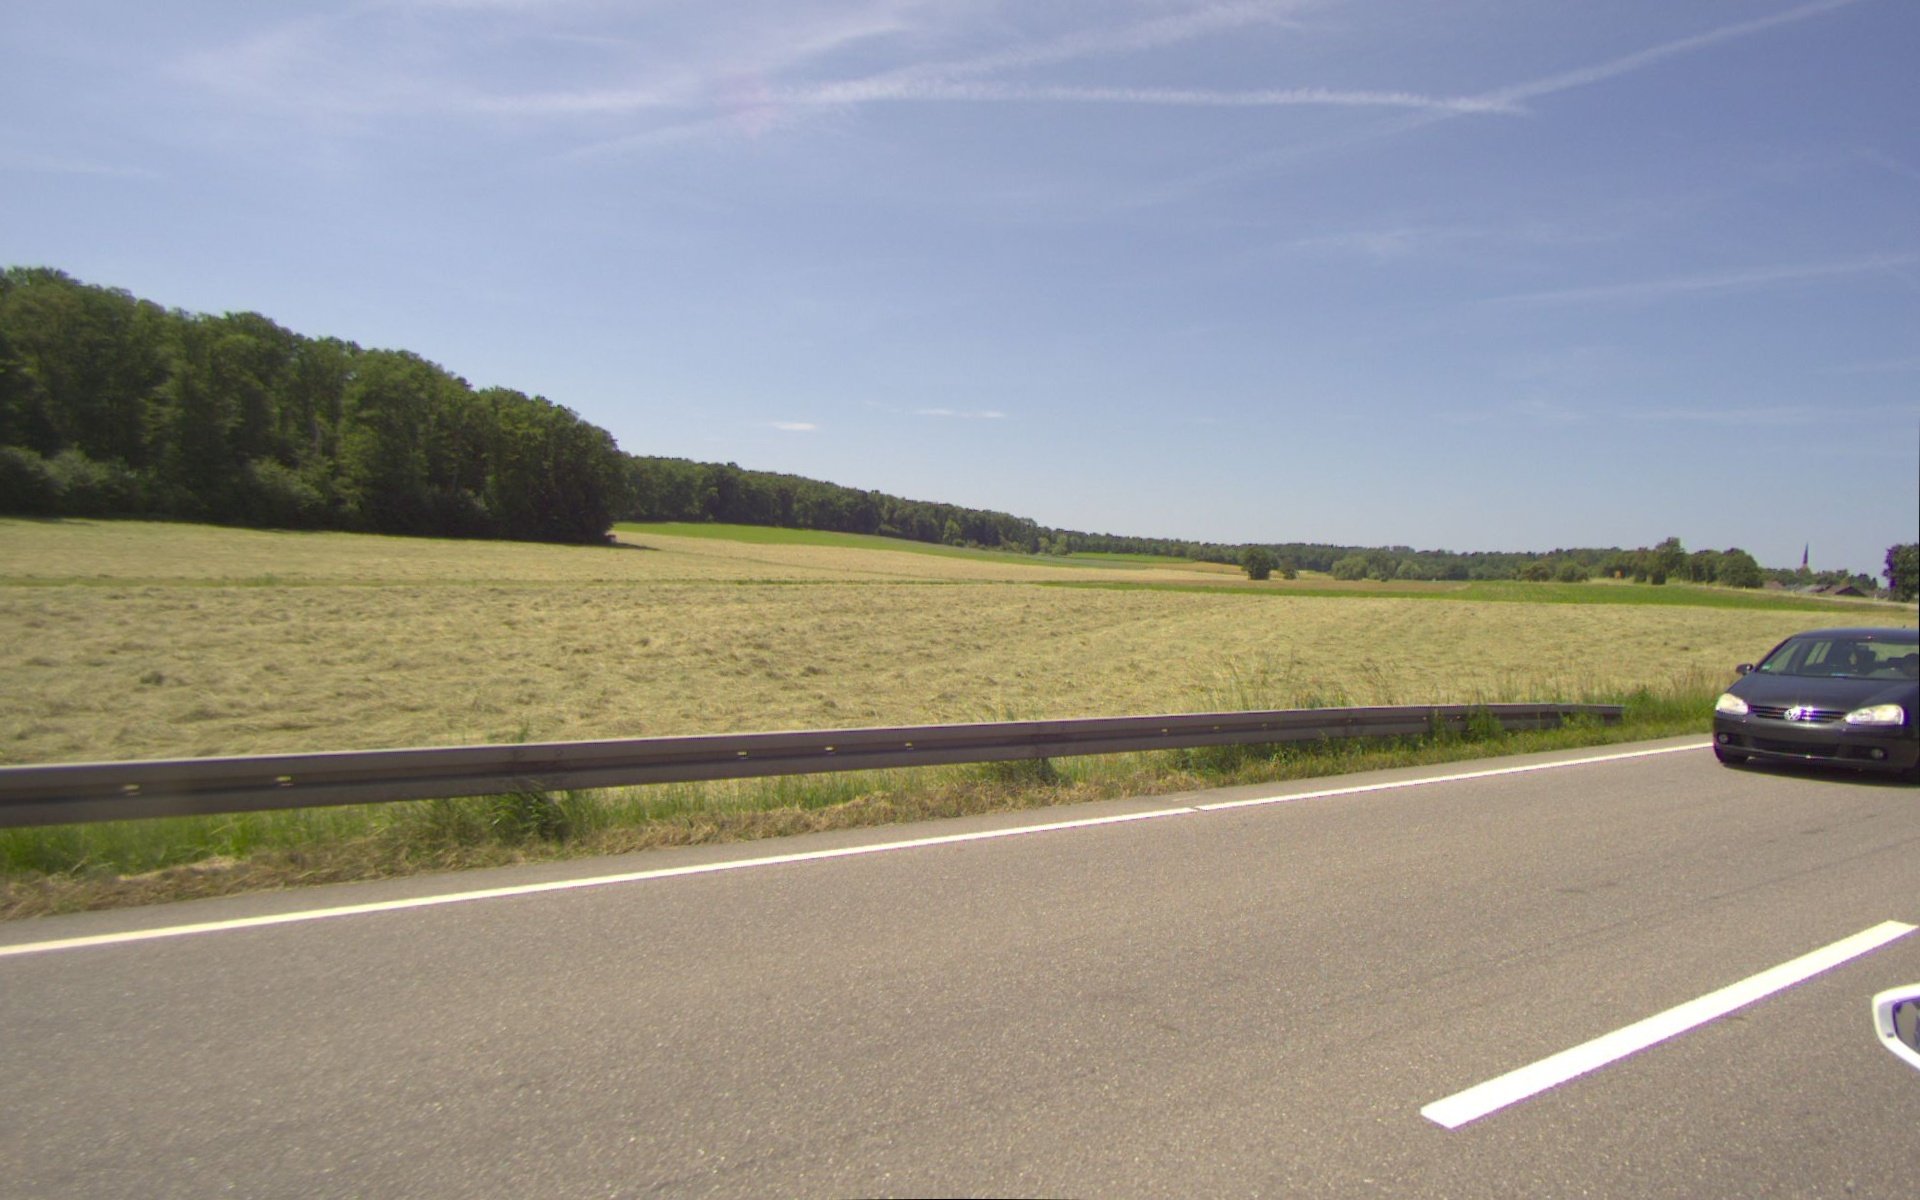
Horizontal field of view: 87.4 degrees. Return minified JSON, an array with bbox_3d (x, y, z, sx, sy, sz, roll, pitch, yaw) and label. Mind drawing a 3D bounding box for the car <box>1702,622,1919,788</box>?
[{"bbox_3d":[9.871,0.996,10.923,4.158,1.489,1.689,1,-1,-35],"label":"car"}]
